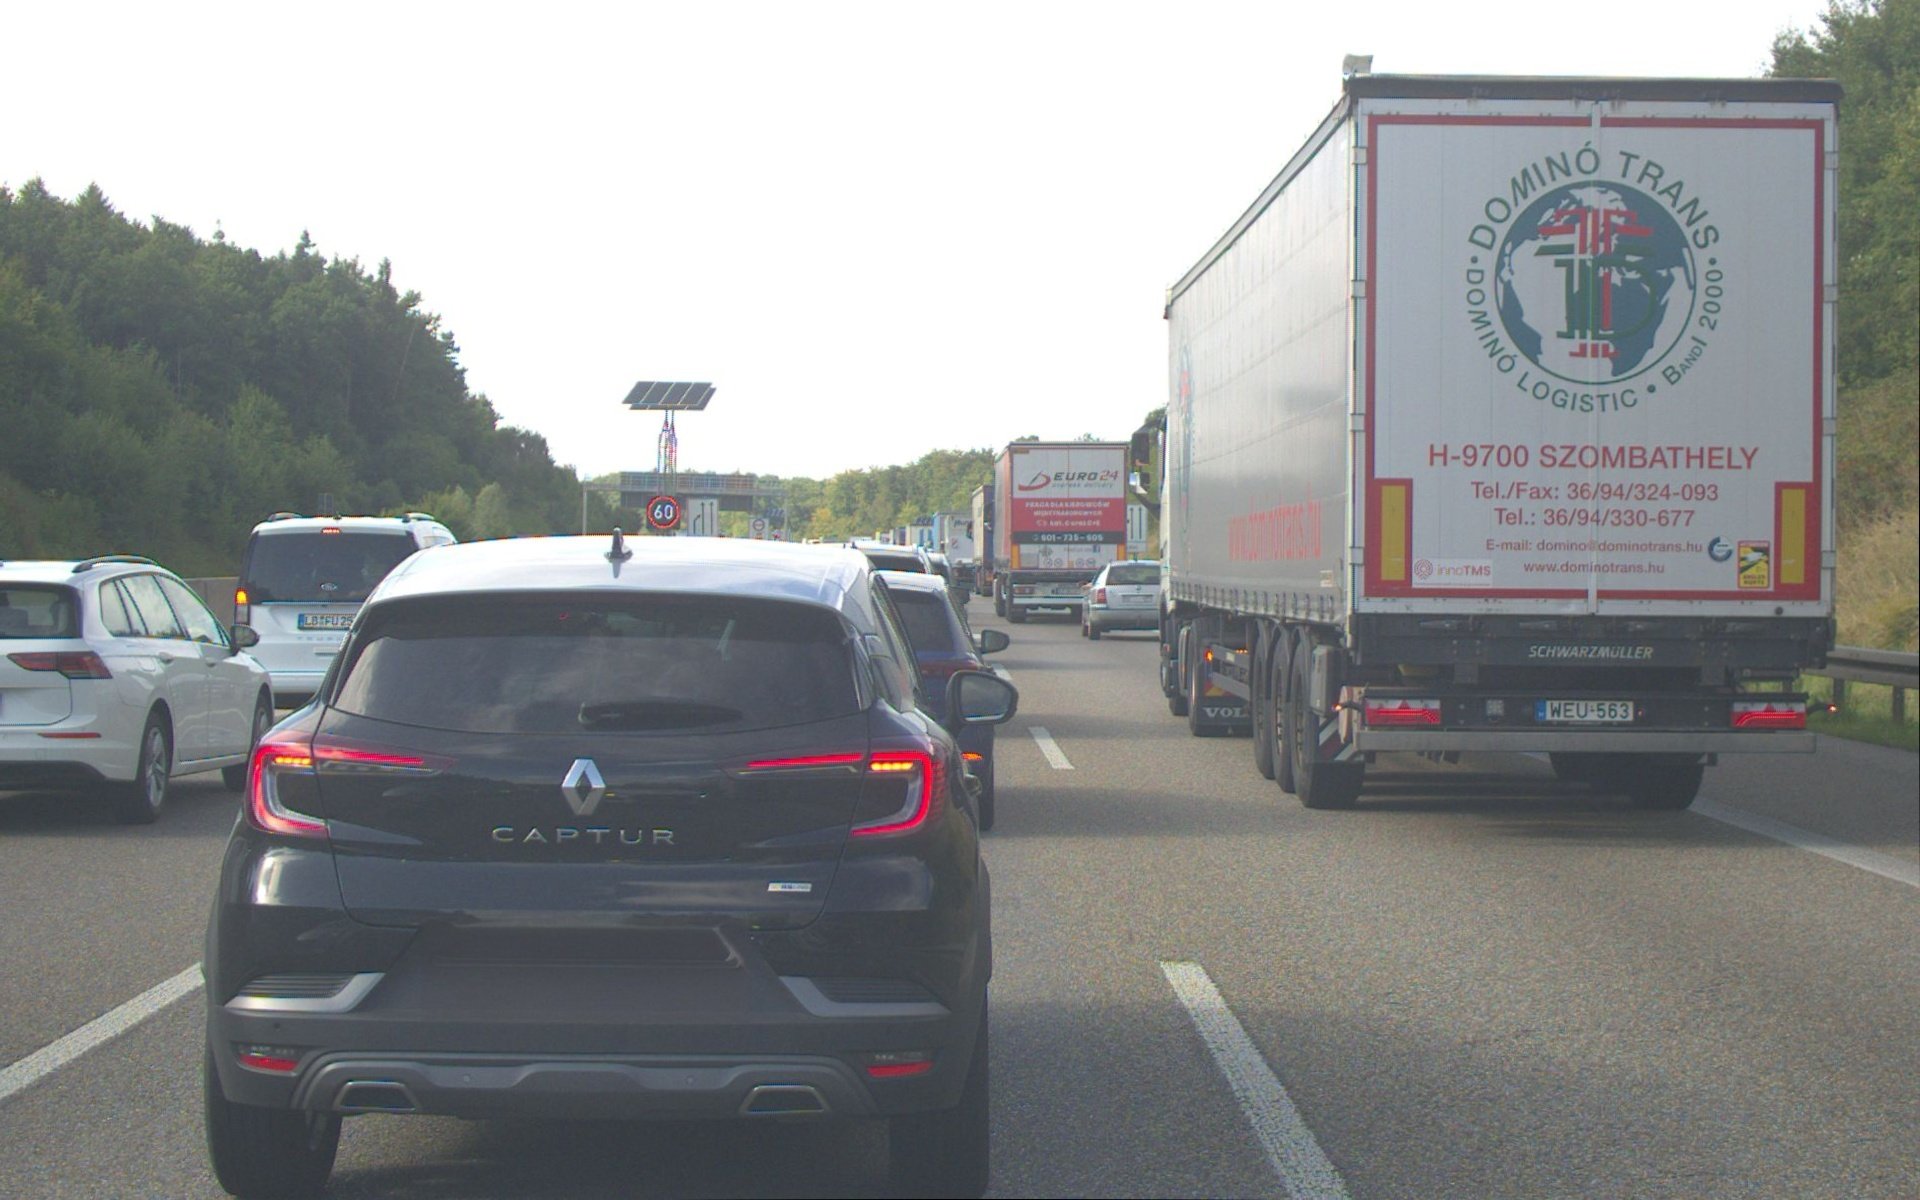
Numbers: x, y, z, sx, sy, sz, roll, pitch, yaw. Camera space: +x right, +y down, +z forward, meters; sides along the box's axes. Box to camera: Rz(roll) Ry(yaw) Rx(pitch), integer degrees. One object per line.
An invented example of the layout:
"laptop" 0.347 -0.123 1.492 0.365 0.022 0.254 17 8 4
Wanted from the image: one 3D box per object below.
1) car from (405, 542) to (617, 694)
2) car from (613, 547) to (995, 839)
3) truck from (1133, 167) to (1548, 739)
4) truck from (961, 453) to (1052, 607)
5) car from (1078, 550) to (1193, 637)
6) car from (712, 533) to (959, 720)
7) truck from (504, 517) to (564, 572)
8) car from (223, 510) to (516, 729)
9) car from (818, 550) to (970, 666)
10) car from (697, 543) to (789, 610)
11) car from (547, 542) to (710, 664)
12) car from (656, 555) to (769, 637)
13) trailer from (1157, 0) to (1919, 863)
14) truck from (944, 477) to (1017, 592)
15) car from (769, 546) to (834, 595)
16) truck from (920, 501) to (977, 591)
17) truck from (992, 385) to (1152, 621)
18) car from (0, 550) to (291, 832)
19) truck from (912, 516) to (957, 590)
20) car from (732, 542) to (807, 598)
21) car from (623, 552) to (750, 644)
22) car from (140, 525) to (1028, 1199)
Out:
"car" -5.084 0.184 39.385 1.855 1.635 3.925 1 0 1
"car" -0.813 0.479 20.115 1.993 1.509 4.000 1 0 0
"truck" 3.261 -1.248 31.081 2.997 4.651 5.940 0 1 -1
"truck" 1.729 -2.571 129.964 3.166 5.486 12.737 1 0 1
"car" 3.184 -0.129 63.066 1.804 1.527 3.926 1 0 -1
"car" -1.029 0.205 30.310 1.993 1.509 4.000 1 0 0
"truck" -22.637 -2.933 182.972 2.422 2.845 6.431 1 1 -1
"car" -5.165 0.148 30.604 1.911 1.783 4.418 1 0 -1
"car" -0.865 0.097 47.451 1.993 1.509 4.000 1 0 0
"car" -5.361 -0.599 85.314 1.993 1.607 4.000 1 1 0
"car" -4.874 0.032 51.056 1.993 1.716 4.000 1 0 0
"car" -5.073 -0.099 70.902 1.993 1.607 4.000 1 0 0
"trailer" 3.351 -1.130 23.818 3.002 4.645 13.291 1 1 -1
"truck" 1.083 -3.173 171.189 3.167 5.486 12.736 1 0 2
"car" -5.319 -1.011 115.889 1.993 1.607 4.000 1 1 0
"truck" -0.607 -3.162 204.268 3.166 5.142 12.737 1 0 1
"truck" 2.466 -2.122 80.253 3.365 5.027 12.737 1 0 1
"car" -5.234 0.450 19.931 1.804 1.456 4.308 0 0 1
"truck" -1.940 -3.566 264.227 3.166 5.486 12.737 1 0 1
"car" -5.655 -0.919 102.415 1.993 1.607 4.000 1 1 0
"car" -5.003 -0.049 63.367 1.993 1.607 4.000 1 0 0
"car" -0.757 0.597 9.237 1.805 1.547 4.000 0 1 2
